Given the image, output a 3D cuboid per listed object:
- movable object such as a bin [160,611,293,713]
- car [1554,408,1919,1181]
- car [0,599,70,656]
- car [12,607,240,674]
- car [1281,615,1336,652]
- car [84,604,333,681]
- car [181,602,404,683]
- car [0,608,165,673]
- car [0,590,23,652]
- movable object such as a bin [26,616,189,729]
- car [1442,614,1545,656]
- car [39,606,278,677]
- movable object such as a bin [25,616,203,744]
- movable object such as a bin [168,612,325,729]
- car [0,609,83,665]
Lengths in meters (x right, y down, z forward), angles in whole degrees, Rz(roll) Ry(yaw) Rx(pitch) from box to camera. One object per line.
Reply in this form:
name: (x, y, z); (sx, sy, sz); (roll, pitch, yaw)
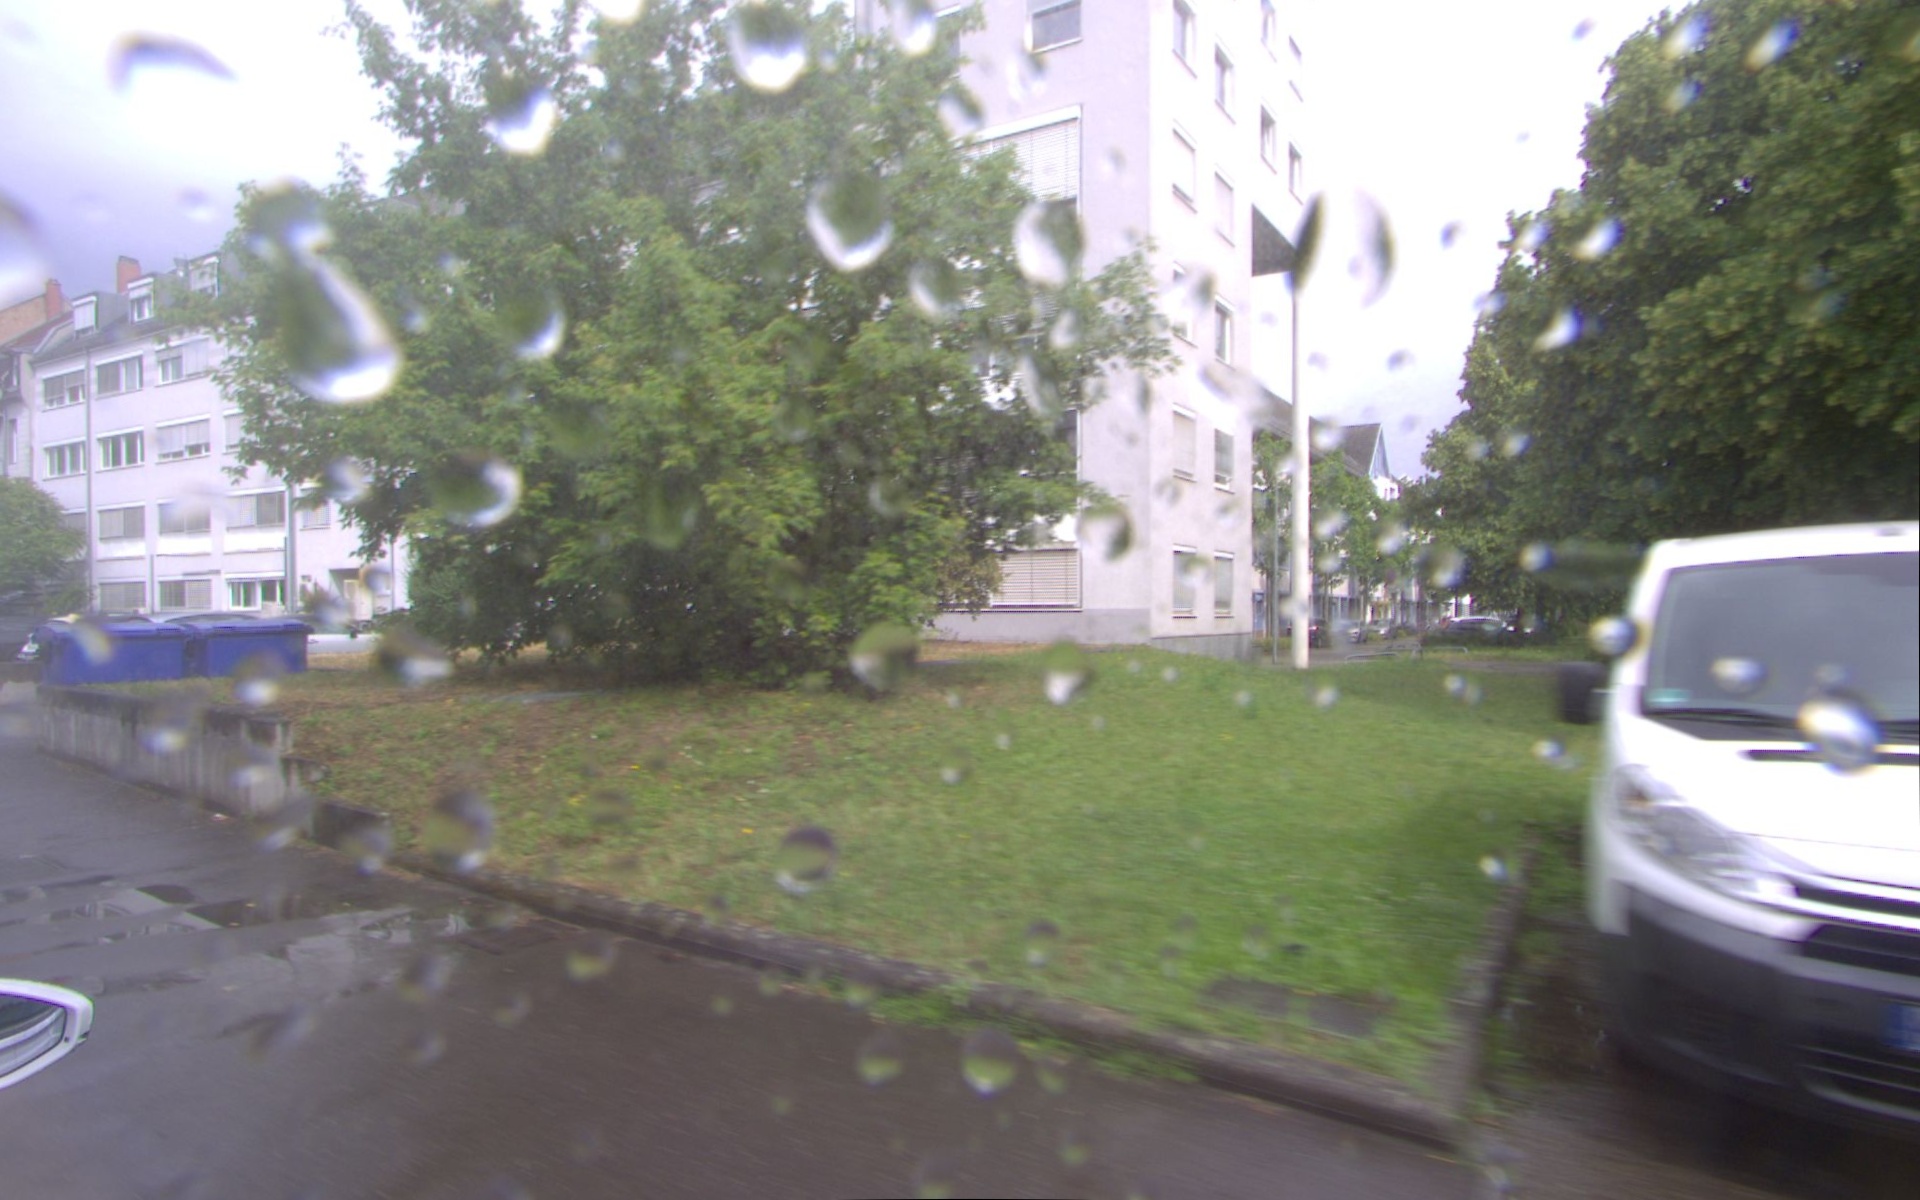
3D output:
movable object such as a bin: (-10.140, 0.824, 13.859); (1.092, 1.321, 1.182); (0, 0, 35)
car: (4.038, 0.551, 4.361); (2.072, 1.950, 4.860); (-1, -2, 36)
car: (-29.886, 0.841, 30.425); (1.791, 1.710, 3.900); (-1, 0, 32)
car: (-20.483, 0.936, 24.780); (1.746, 1.477, 3.983); (-1, 0, 29)
car: (19.316, 1.799, 55.388); (1.971, 1.814, 4.212); (2, 1, 32)
car: (-16.282, 0.845, 21.913); (1.780, 1.465, 3.980); (0, 1, 31)
car: (-13.577, 0.802, 20.539); (1.664, 1.446, 3.408); (-1, 1, 31)
car: (-23.503, 1.005, 26.127); (1.791, 1.534, 3.906); (-1, 0, 27)
car: (-32.696, 0.686, 31.200); (2.188, 2.030, 4.636); (0, 1, 24)
movable object such as a bin: (-10.862, 0.882, 12.783); (1.069, 1.321, 1.367); (0, 0, 36)
car: (28.174, 1.791, 52.919); (4.524, 1.967, 2.039); (2, 2, 37)
car: (-18.575, 0.902, 23.403); (1.746, 1.422, 3.981); (0, 1, 29)
movable object such as a bin: (-9.639, 0.860, 11.433); (1.081, 1.309, 1.333); (1, 1, 36)
movable object such as a bin: (-8.944, 0.833, 12.568); (1.181, 1.354, 1.288); (0, 0, 36)
car: (-27.496, 1.058, 28.160); (1.725, 1.534, 3.904); (-1, 0, 29)
